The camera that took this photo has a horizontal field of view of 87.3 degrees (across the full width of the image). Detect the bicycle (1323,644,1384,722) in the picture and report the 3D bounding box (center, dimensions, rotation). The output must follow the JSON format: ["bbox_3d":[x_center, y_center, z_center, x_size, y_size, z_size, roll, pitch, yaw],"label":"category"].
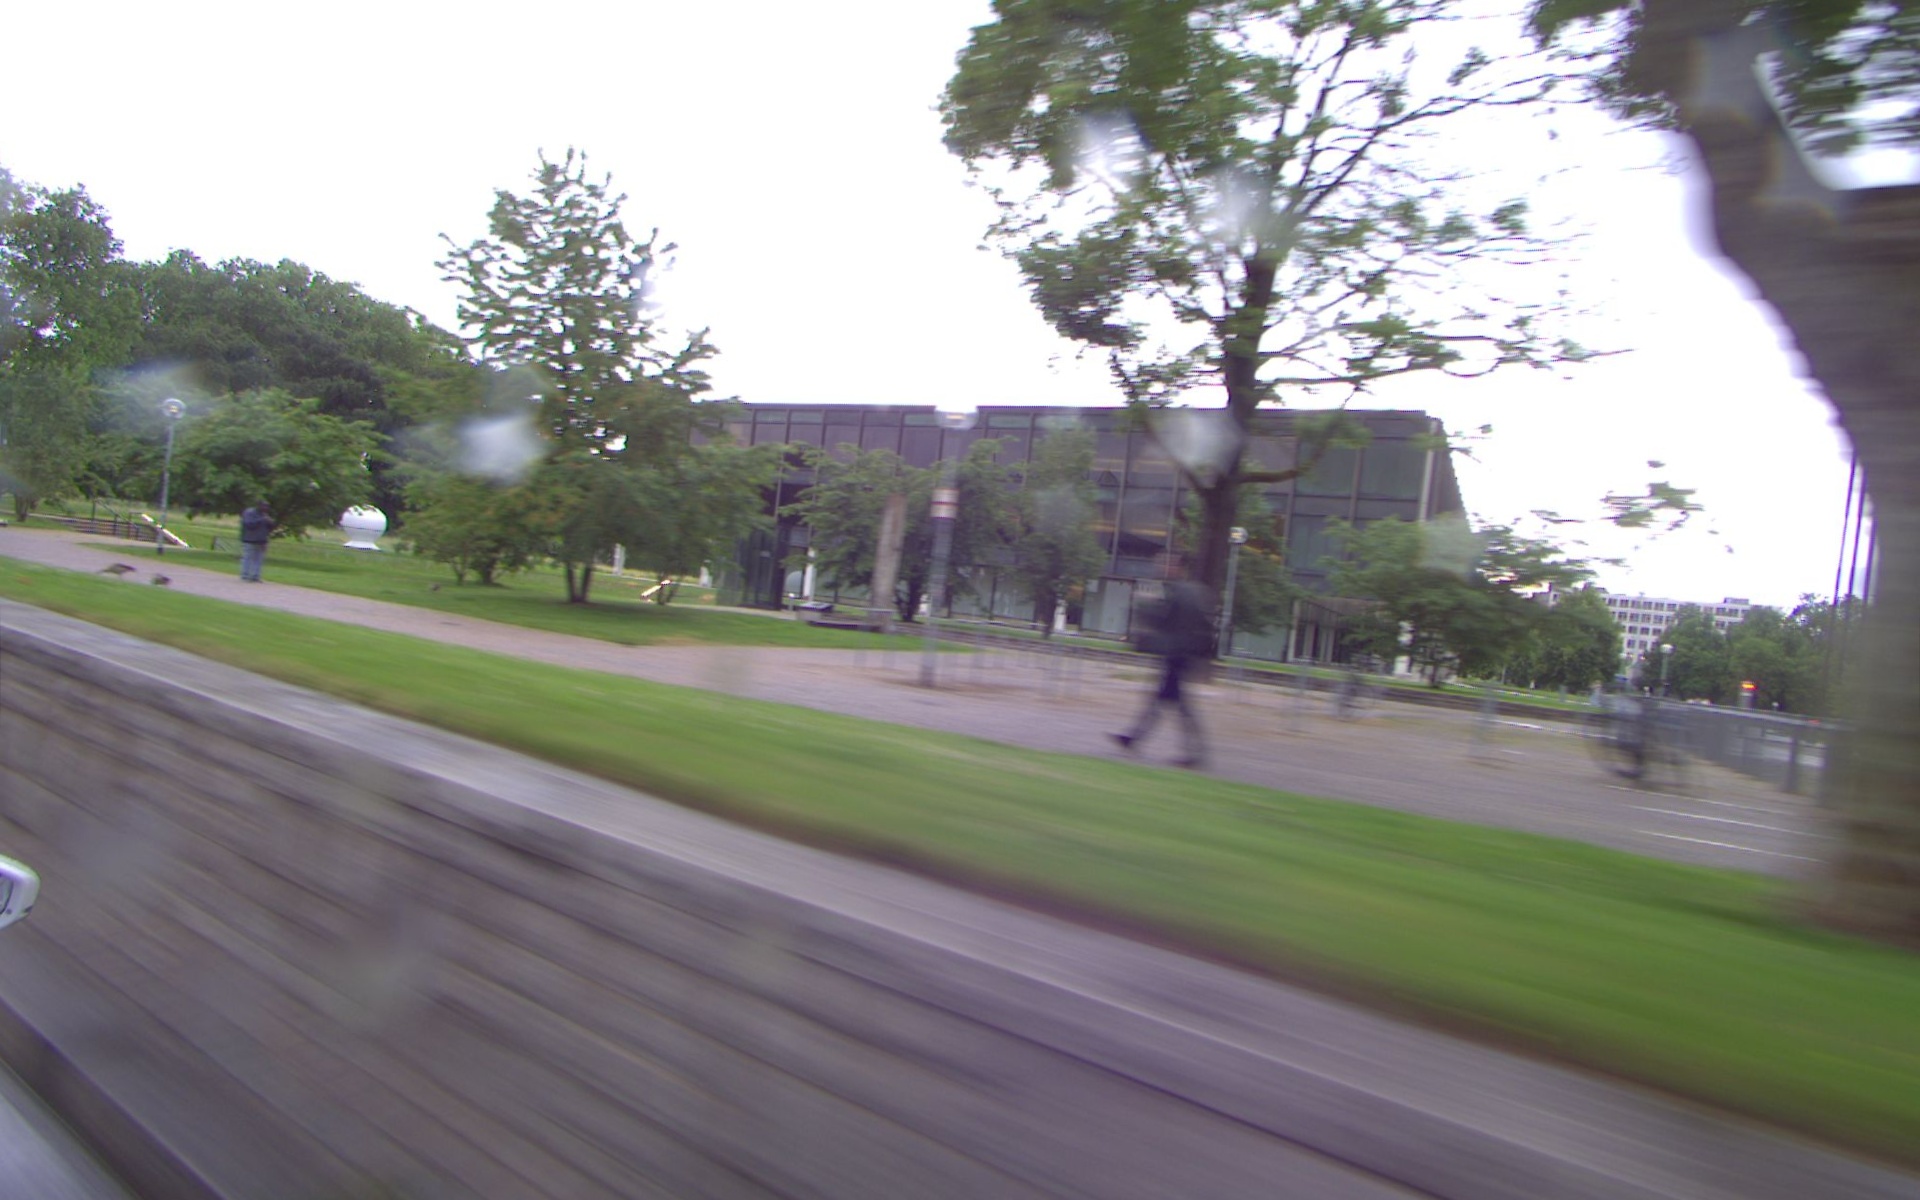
[{"bbox_3d":[6.341,1.317,16.182,0.696,1.099,1.645,8,1,25],"label":"bicycle"}]

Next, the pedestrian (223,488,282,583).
[{"bbox_3d":[-14.040,-1.279,19.959,0.713,1.779,0.595,8,3,28],"label":"pedestrian"}]

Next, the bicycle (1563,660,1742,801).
[{"bbox_3d":[7.247,1.308,10.674,0.942,1.188,2.041,7,0,20],"label":"bicycle"}]

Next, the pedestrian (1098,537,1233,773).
[{"bbox_3d":[1.654,0.423,8.068,0.681,1.741,0.705,7,3,30],"label":"pedestrian"}]
